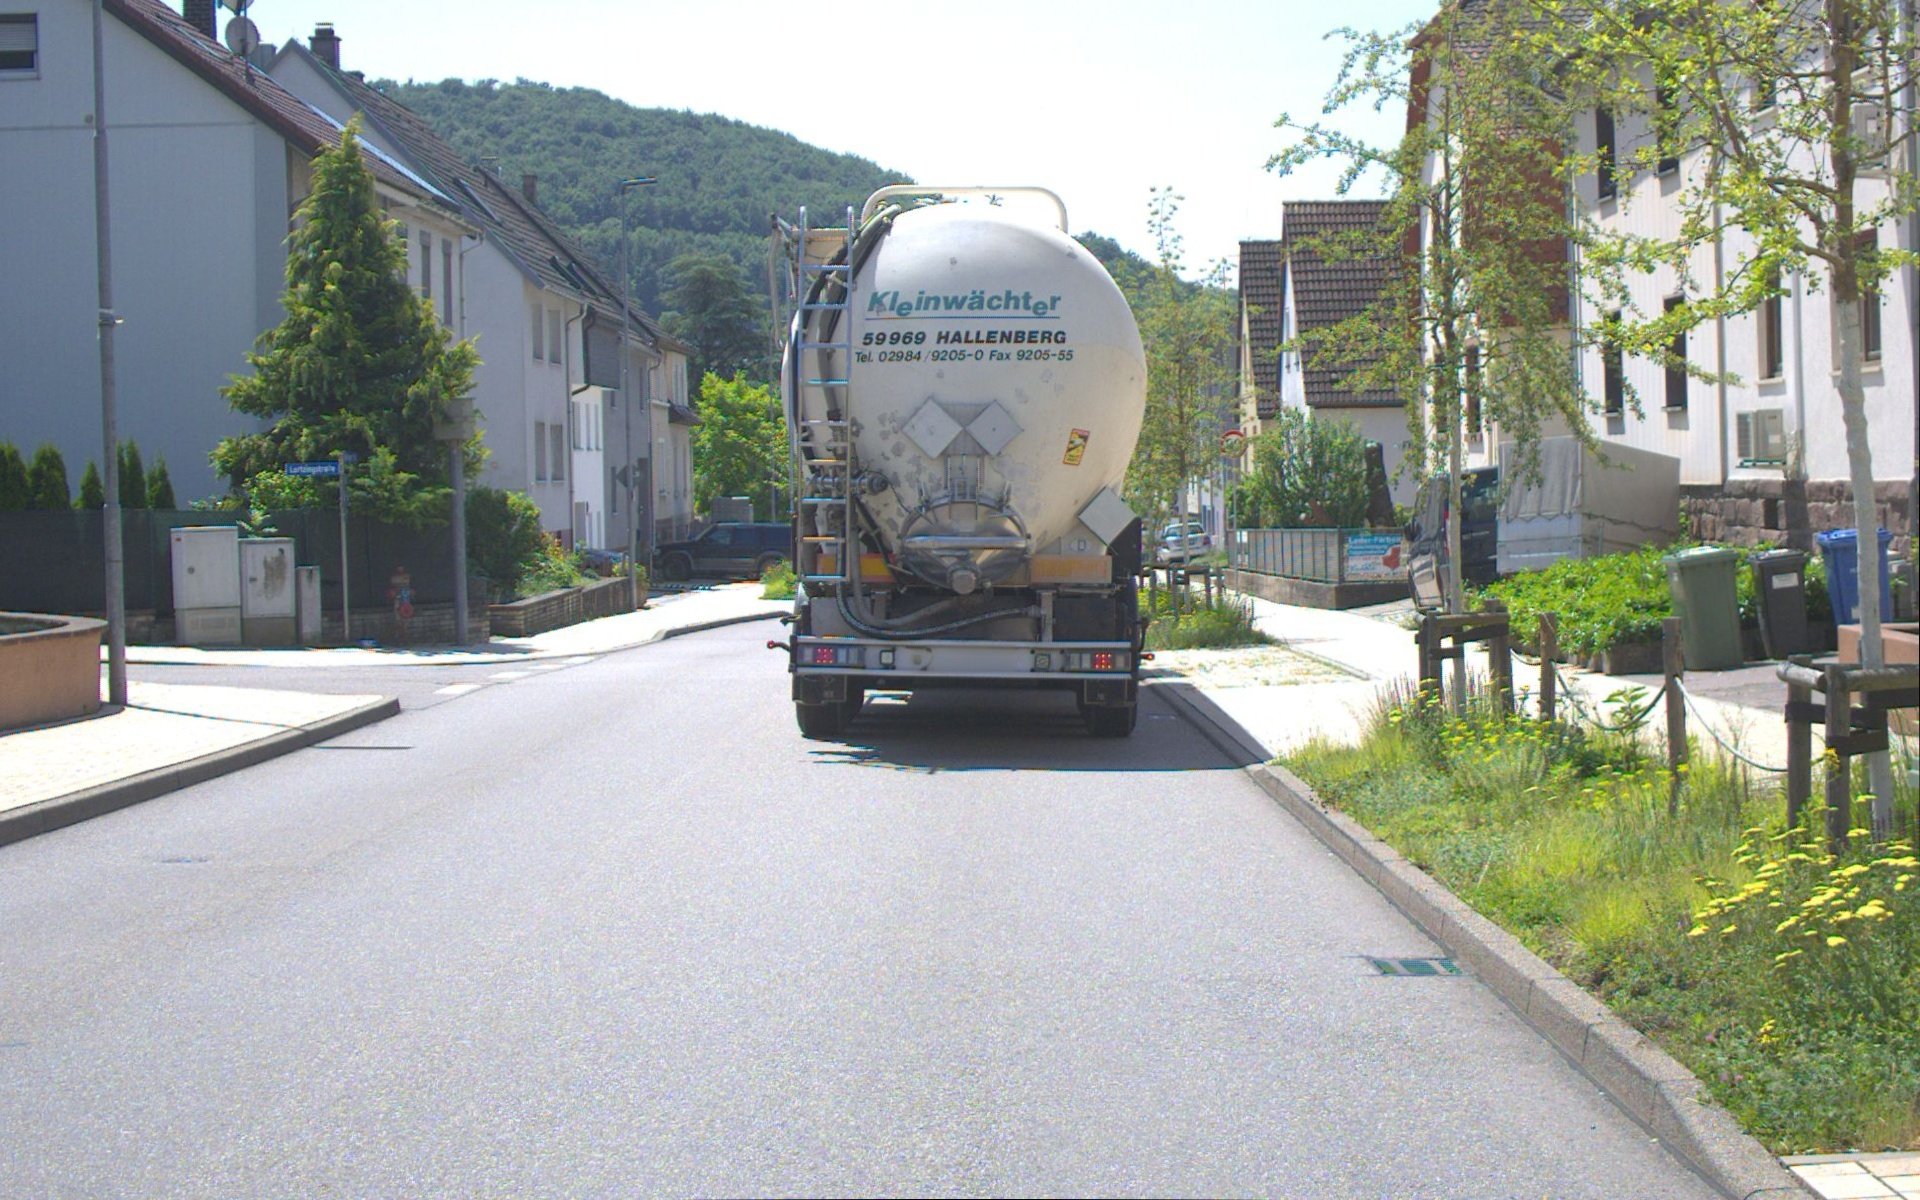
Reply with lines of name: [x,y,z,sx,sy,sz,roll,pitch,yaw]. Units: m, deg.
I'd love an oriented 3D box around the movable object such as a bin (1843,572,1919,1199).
movable object such as a bin: [2.288,0.627,6.685,0.792,1.390,0.925,-4,1,-2]

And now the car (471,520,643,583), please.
car: [-9.881,-1.202,84.481,3.987,1.540,1.832,0,1,1]

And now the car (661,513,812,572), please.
car: [-6.690,-1.733,103.178,4.394,1.744,1.878,0,1,0]

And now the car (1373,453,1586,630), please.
car: [6.649,-0.759,44.480,1.852,1.964,4.774,-6,1,0]

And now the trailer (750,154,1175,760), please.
trailer: [0.100,-1.077,27.828,2.796,3.987,10.324,0,2,1]

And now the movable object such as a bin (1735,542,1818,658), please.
movable object such as a bin: [7.303,-0.005,30.759,0.558,0.982,0.802,-5,0,7]

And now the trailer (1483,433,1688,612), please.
trailer: [7.279,-0.897,39.932,1.323,2.007,2.268,1,1,43]

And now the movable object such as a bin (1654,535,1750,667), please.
movable object such as a bin: [6.611,0.004,30.657,0.684,1.111,0.812,-4,0,6]

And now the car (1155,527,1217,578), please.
car: [7.430,-1.573,113.379,1.791,1.536,4.519,-3,1,2]

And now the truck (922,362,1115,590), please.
truck: [1.243,-2.835,80.468,3.910,4.879,9.797,-2,1,-2]

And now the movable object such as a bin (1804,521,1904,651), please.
movable object such as a bin: [7.982,-0.132,30.714,0.685,1.102,0.862,-4,1,7]
